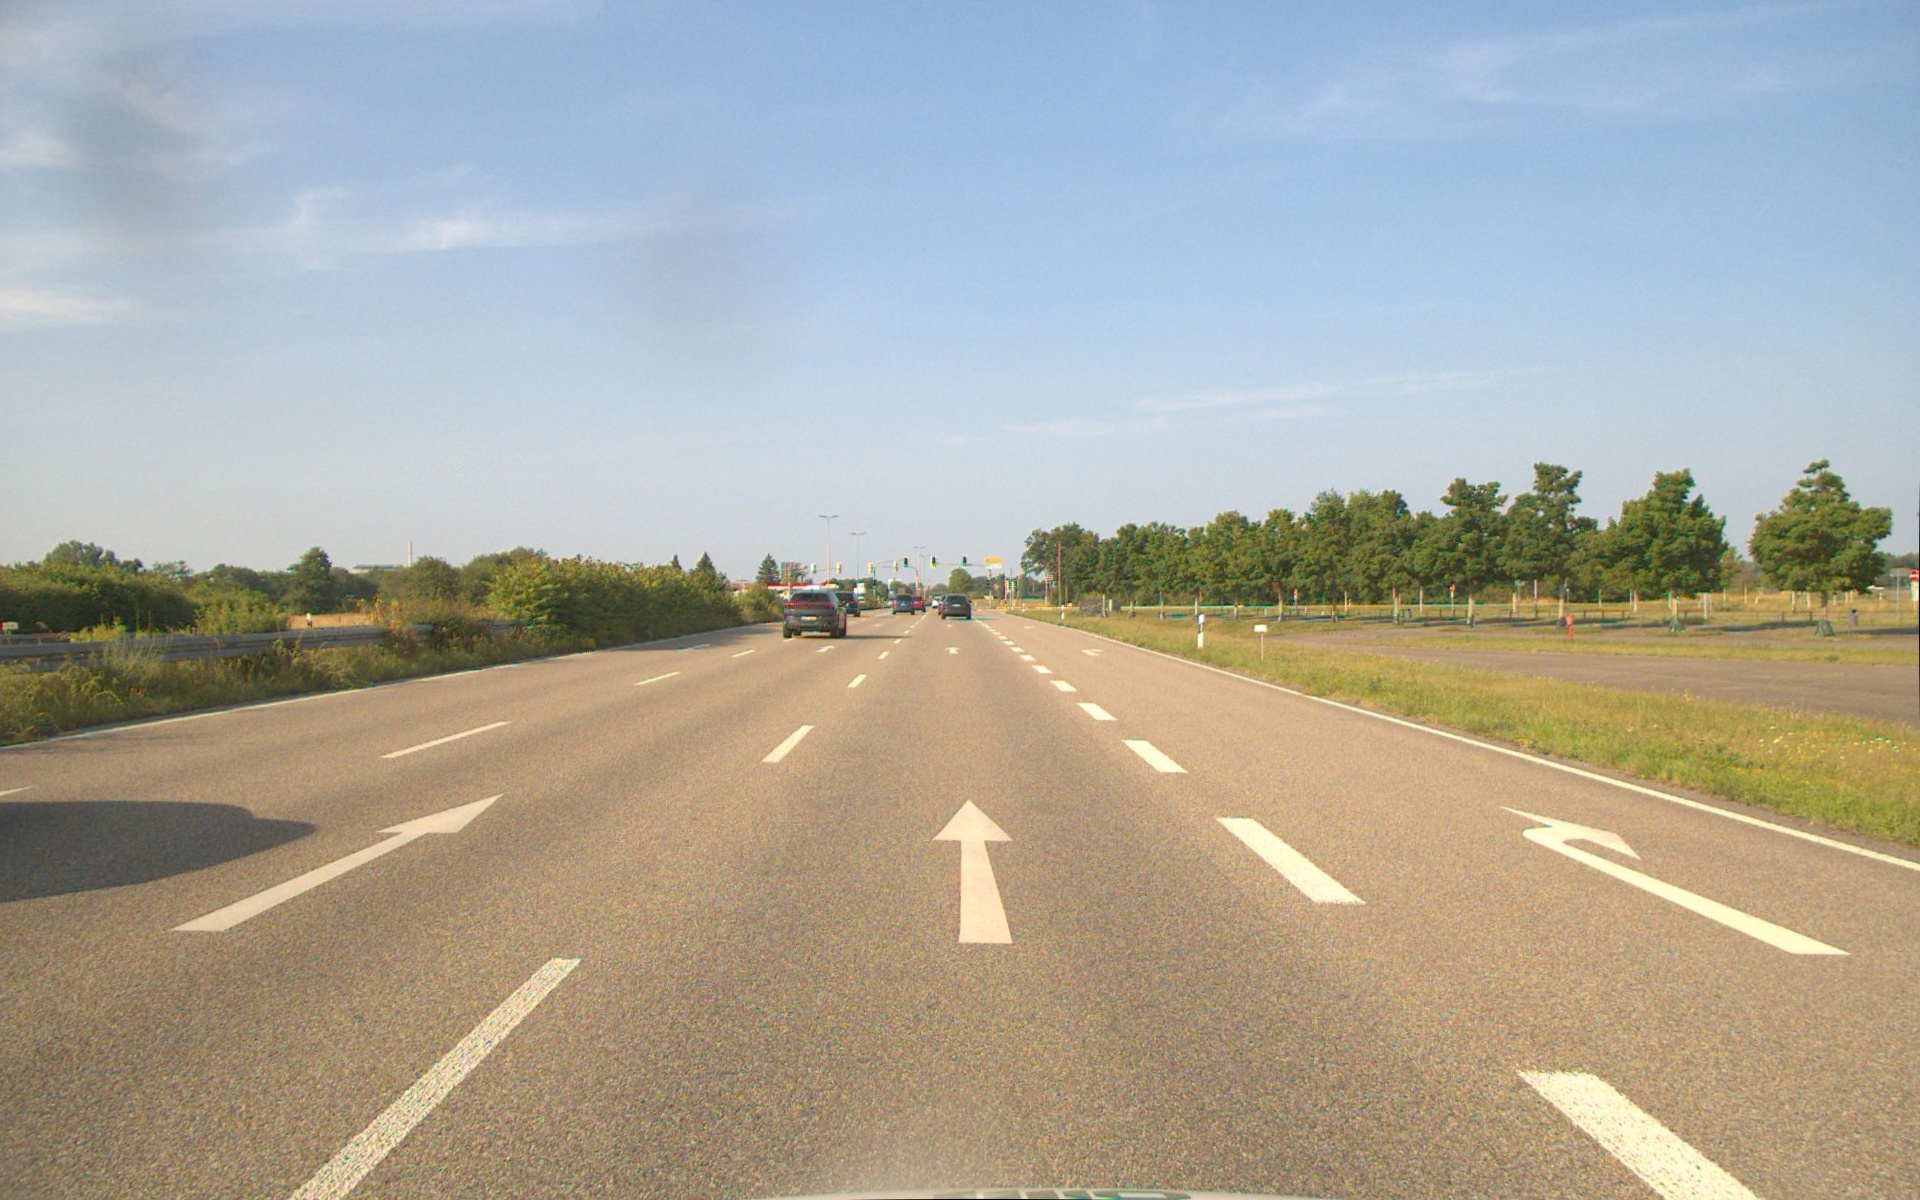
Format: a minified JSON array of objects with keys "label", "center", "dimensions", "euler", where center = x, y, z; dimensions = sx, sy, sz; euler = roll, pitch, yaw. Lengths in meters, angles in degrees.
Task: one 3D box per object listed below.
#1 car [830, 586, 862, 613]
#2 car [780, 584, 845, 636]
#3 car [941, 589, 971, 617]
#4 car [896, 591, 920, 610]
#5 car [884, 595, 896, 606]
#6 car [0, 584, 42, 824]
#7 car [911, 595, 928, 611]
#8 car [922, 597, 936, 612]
[{"label":"car","center":[-7.760,-0.039,113.020],"dimensions":[1.893,1.709,4.400],"euler":[2,0,-1]},{"label":"car","center":[-4.895,0.309,55.381],"dimensions":[1.808,1.640,4.400],"euler":[2,0,-1]},{"label":"car","center":[-0.304,0.169,108.389],"dimensions":[1.893,1.709,4.400],"euler":[2,0,-1]},{"label":"car","center":[-4.233,0.053,134.748],"dimensions":[1.776,1.488,4.400],"euler":[2,0,-1]},{"label":"car","center":[-9.957,0.042,234.452],"dimensions":[1.567,1.559,3.999],"euler":[2,0,-1]},{"label":"car","center":[-6.770,0.665,8.375],"dimensions":[1.613,1.497,4.776],"euler":[0,0,-1]},{"label":"car","center":[-3.998,0.258,163.493],"dimensions":[1.614,1.489,3.980],"euler":[2,0,-1]},{"label":"car","center":[-3.838,0.528,204.531],"dimensions":[1.612,1.758,3.400],"euler":[1,-1,-1]}]
